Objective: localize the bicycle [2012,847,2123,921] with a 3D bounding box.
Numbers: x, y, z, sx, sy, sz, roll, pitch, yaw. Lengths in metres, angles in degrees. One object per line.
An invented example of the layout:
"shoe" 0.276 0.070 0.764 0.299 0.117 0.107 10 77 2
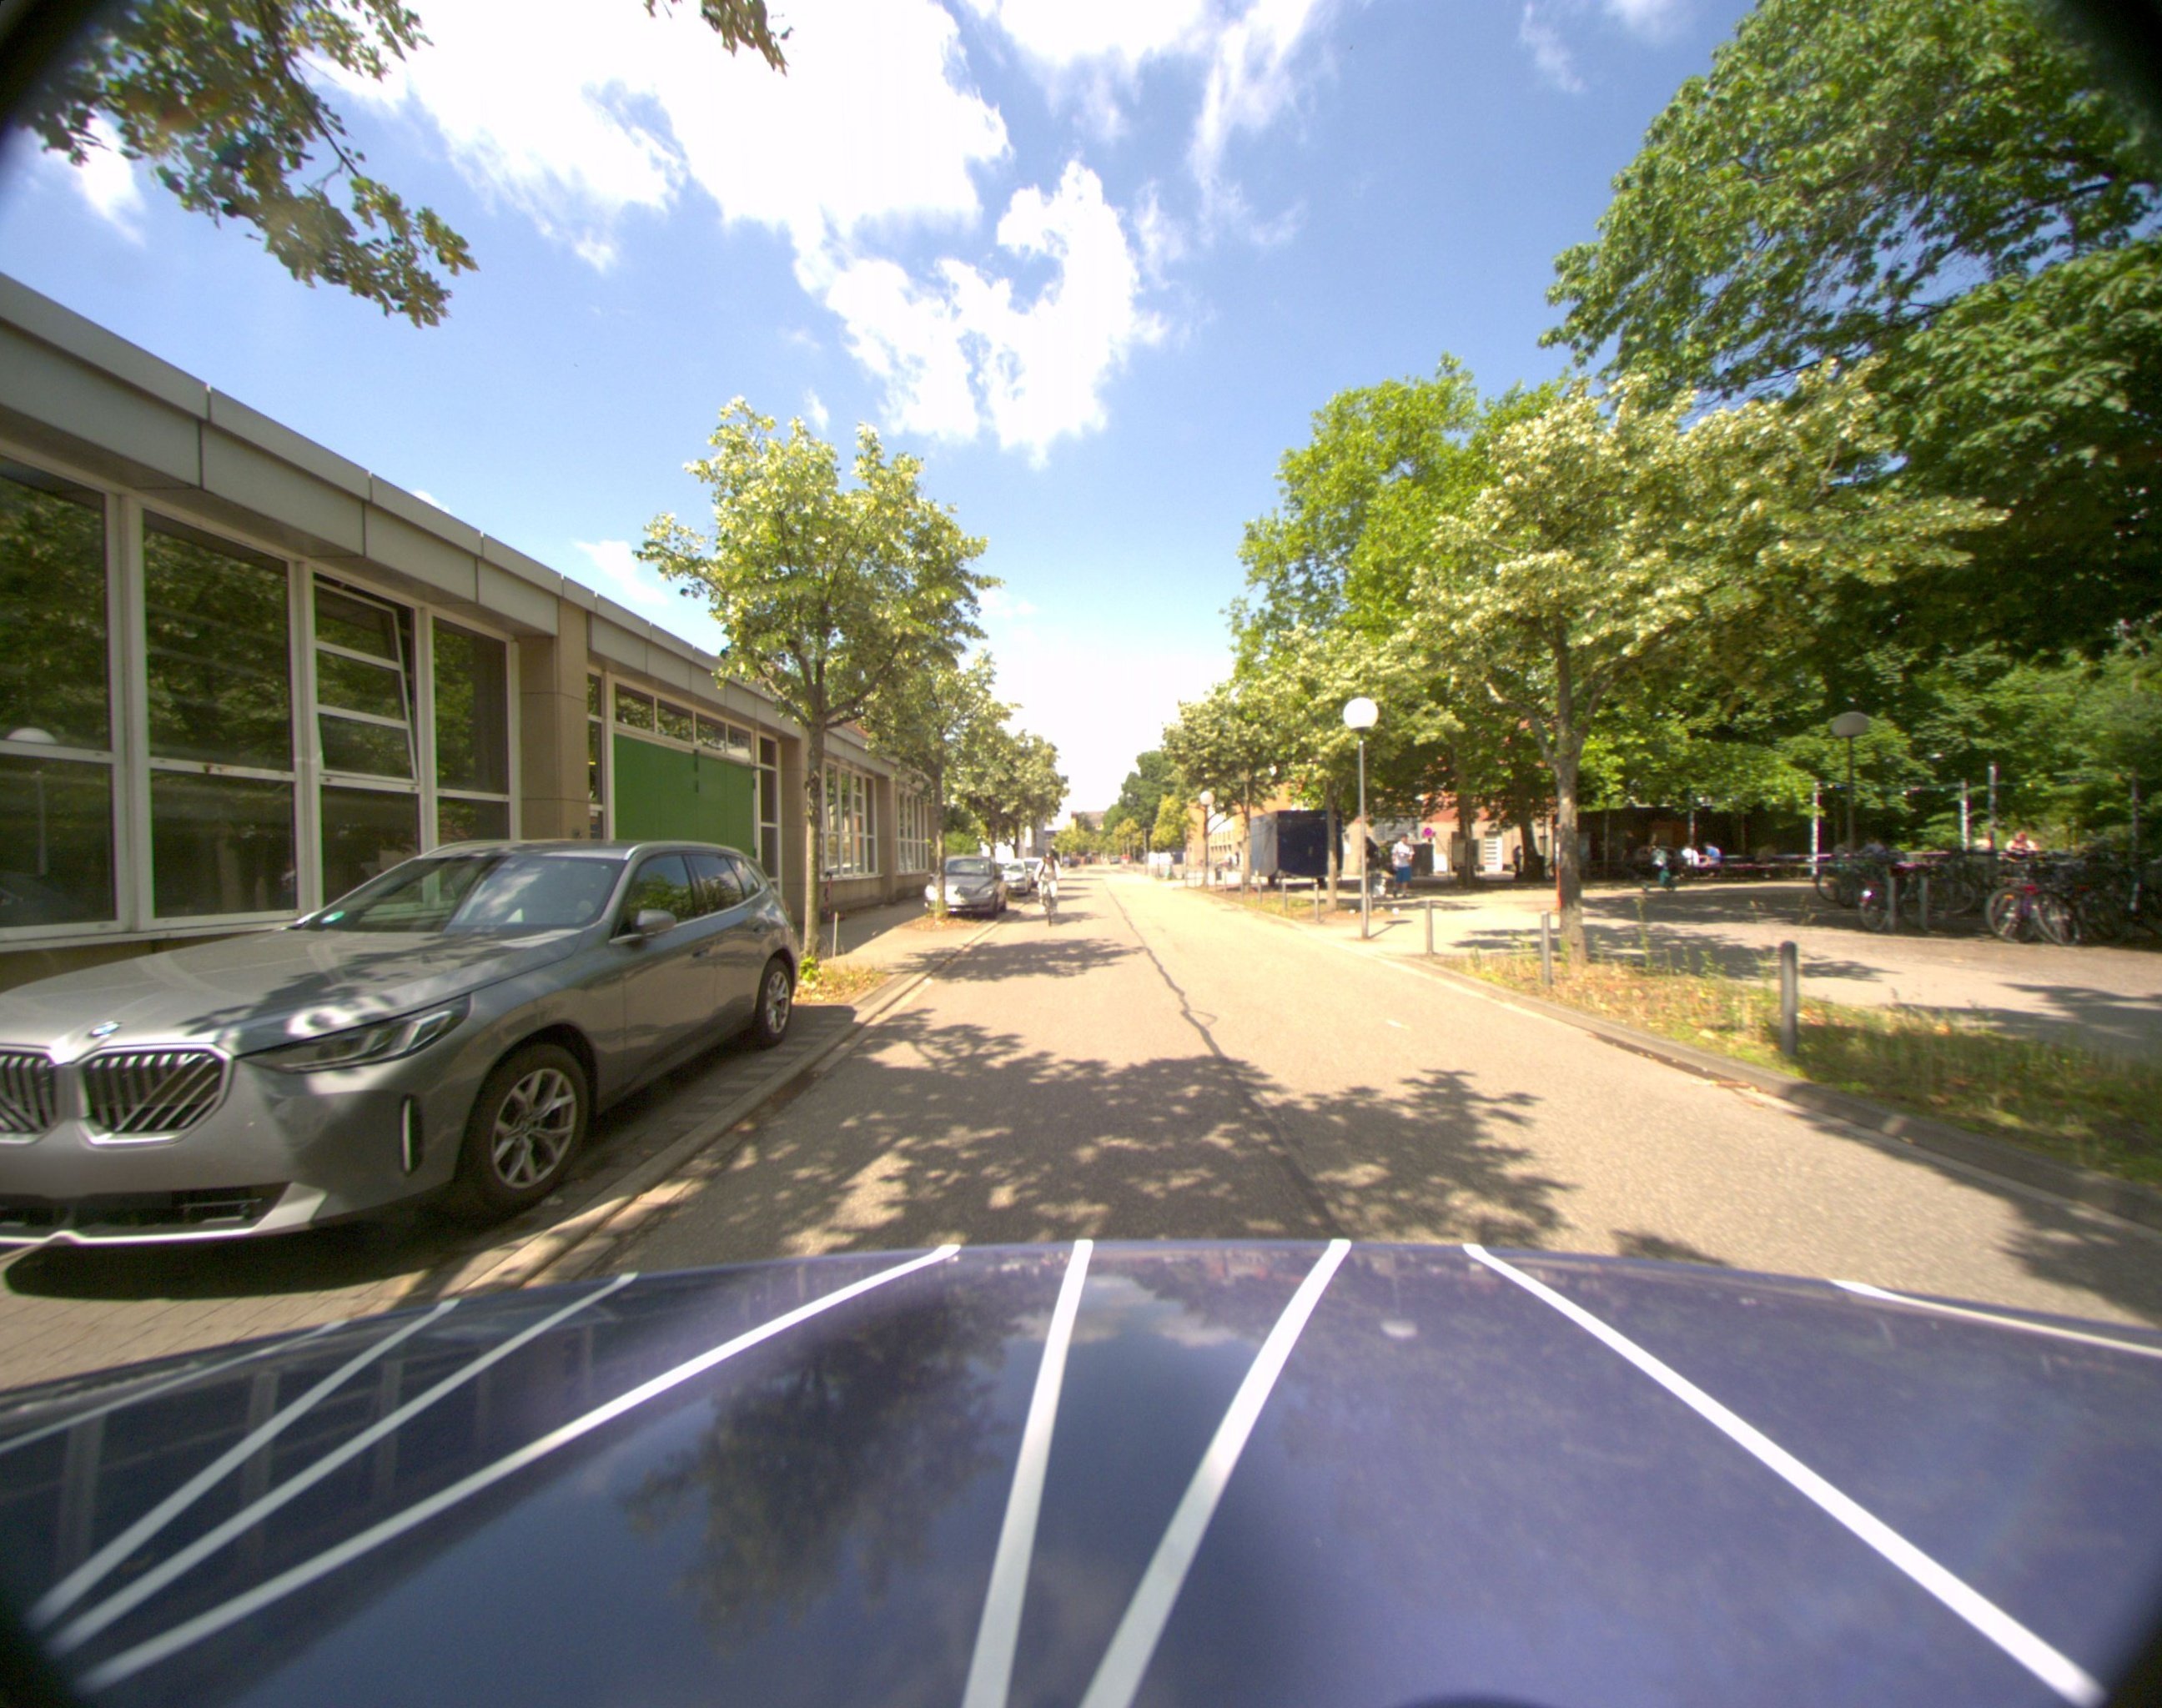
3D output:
"bicycle" 15.904 0.455 12.244 1.863 1.083 0.546 -2 0 -20

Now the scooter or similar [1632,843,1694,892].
"scooter or similar" 15.642 0.348 20.467 0.700 1.239 1.241 -2 0 1

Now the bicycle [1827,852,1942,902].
"bicycle" 17.222 0.492 16.317 1.806 1.008 0.537 -2 0 3

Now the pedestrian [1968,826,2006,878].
"pedestrian" 24.857 -0.050 20.843 0.507 1.414 0.460 -2 1 -9

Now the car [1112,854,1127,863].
"car" 8.963 1.009 174.957 2.022 2.079 4.440 -1 0 22

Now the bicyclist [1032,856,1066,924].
"bicyclist" -0.729 0.813 17.565 0.675 1.470 1.062 -1 2 2

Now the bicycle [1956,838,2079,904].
"bicycle" 17.390 0.307 14.119 1.967 1.119 0.537 -2 0 -10

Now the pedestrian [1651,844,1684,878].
"pedestrian" 21.507 0.259 27.860 0.596 1.226 0.741 -2 -1 -34

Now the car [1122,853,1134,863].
"car" 9.191 0.748 148.594 1.912 1.870 4.003 -1 0 7

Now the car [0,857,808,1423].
"car" -3.335 0.859 4.531 1.827 1.654 4.583 0 0 -1

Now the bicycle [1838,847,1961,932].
"bicycle" 11.822 0.486 10.966 1.780 1.125 0.458 -2 1 -17

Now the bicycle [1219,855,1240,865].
"bicycle" 15.195 0.600 77.949 2.027 1.055 0.663 -1 0 0

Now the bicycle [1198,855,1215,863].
"bicycle" 15.330 0.616 92.857 1.955 1.024 0.518 -1 0 0

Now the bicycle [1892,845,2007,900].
"bicycle" 17.201 0.355 15.059 1.967 0.997 0.537 -2 0 -10

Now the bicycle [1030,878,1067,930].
"bicycle" -0.727 1.135 17.712 0.675 1.066 2.136 -1 0 2

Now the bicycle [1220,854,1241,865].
"bicycle" 14.949 0.549 76.066 2.015 1.076 0.622 -1 0 0

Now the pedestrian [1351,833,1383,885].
"pedestrian" 11.079 0.184 29.448 0.919 1.943 0.892 -3 1 11

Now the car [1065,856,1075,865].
"car" -1.718 1.020 119.609 1.552 1.377 3.453 -1 0 -1

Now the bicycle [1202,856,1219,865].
"bicycle" 15.157 0.743 88.914 1.955 0.935 0.569 -1 0 0

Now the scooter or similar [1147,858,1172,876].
"scooter or similar" 5.430 0.899 52.582 1.571 1.218 0.525 -1 1 28

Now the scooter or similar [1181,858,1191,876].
"scooter or similar" 7.100 0.870 51.414 0.564 1.142 1.351 -1 1 13

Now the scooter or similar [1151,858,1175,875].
"scooter or similar" 5.841 0.901 54.171 1.571 1.218 0.571 -1 1 28

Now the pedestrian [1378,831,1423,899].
"pedestrian" 8.861 0.304 21.092 0.801 1.820 0.987 -2 0 1

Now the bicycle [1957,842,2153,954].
"bicycle" 12.143 0.506 9.481 2.062 1.227 0.808 -2 1 -17

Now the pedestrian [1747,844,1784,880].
"pedestrian" 23.730 0.275 26.347 0.570 1.243 0.766 -2 0 -11

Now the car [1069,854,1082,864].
"car" -0.921 0.858 127.897 1.939 1.671 3.471 -1 0 5

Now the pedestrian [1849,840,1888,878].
"pedestrian" 24.953 0.152 24.082 0.392 1.187 0.730 -2 0 -9

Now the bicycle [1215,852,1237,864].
"bicycle" 14.085 0.348 73.895 2.026 1.119 0.592 -1 0 1

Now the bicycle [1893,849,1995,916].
"bicycle" 15.340 0.479 13.498 1.863 1.083 0.546 -2 0 -20

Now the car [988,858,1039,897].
"car" -2.708 0.927 31.382 1.730 1.458 4.671 0 0 -1

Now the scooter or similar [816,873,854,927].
"scooter or similar" -5.931 1.085 18.374 0.417 1.210 1.493 0 0 1

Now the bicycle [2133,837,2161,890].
"bicycle" 23.242 0.176 15.969 1.959 1.085 0.596 -2 2 -12

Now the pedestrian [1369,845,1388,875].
"pedestrian" 15.490 0.308 39.587 0.744 1.500 0.499 -2 1 2

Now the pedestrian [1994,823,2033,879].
"pedestrian" 25.740 -0.083 20.986 0.507 1.513 0.473 -2 1 -10

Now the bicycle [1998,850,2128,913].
"bicycle" 17.408 0.479 13.477 1.967 1.021 0.537 -2 0 -10

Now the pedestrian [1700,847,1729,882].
"pedestrian" 24.539 0.396 29.429 0.646 1.315 0.559 -1 0 2

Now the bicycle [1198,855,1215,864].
"bicycle" 14.964 0.667 90.498 1.955 1.024 0.530 -1 0 0

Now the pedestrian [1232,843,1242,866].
"pedestrian" 12.502 0.045 60.968 0.577 1.769 0.917 -1 1 0

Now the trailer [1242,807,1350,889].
"trailer" 8.766 -0.243 31.801 2.703 3.009 6.266 -2 0 1

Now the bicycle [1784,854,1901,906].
"bicycle" 15.794 0.535 15.789 1.807 1.008 0.537 -2 0 3

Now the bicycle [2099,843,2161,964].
"bicycle" 12.451 0.497 8.366 2.062 1.227 0.808 -3 1 -17

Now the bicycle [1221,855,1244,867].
"bicycle" 14.368 0.657 72.031 2.027 1.119 0.667 -1 0 0

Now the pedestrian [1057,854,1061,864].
"pedestrian" -3.316 0.717 113.064 0.525 1.430 0.701 -1 0 4

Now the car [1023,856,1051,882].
"car" -2.673 0.879 46.512 1.591 1.458 3.987 -1 1 -2

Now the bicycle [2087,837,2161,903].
"bicycle" 17.794 0.237 12.574 1.967 1.021 0.537 -2 0 -10

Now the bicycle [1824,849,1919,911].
"bicycle" 15.148 0.486 14.550 1.863 1.083 0.546 -2 0 -20

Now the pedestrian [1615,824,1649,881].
"pedestrian" 18.329 -0.046 25.283 0.531 1.837 0.806 -2 0 1

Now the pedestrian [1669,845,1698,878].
"pedestrian" 23.354 0.280 29.466 0.561 1.264 0.693 -2 0 1

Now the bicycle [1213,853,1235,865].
"bicycle" 14.127 0.509 74.899 2.026 1.119 0.439 -3 0 5

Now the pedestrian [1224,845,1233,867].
"pedestrian" 11.856 0.135 60.954 0.564 1.752 0.805 -1 1 0

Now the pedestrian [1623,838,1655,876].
"pedestrian" 20.858 0.115 28.416 0.596 1.361 0.741 -2 -1 -34

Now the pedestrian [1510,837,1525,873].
"pedestrian" 20.943 0.060 36.457 0.531 1.700 0.447 -3 0 -43

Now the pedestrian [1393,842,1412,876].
"pedestrian" 15.869 0.244 37.488 0.632 1.656 0.643 -2 1 2

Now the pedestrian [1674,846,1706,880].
"pedestrian" 24.380 0.361 30.432 0.689 1.315 0.778 -1 0 2

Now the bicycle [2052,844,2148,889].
"bicycle" 22.834 0.264 17.032 1.884 0.937 0.546 -2 2 -12

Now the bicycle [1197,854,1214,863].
"bicycle" 15.317 0.579 93.737 1.955 1.024 0.542 -1 0 0

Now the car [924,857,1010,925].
"car" -2.884 0.887 20.092 1.708 1.565 4.140 0 0 -1

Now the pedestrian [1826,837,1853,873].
"pedestrian" 24.737 0.040 24.787 0.336 1.133 0.506 -2 1 -10

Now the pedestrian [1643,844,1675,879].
"pedestrian" 20.959 0.278 27.557 0.596 1.226 0.741 -2 -1 -34

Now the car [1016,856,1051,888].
"car" -2.453 0.903 39.957 1.651 1.383 3.986 -2 2 -1
